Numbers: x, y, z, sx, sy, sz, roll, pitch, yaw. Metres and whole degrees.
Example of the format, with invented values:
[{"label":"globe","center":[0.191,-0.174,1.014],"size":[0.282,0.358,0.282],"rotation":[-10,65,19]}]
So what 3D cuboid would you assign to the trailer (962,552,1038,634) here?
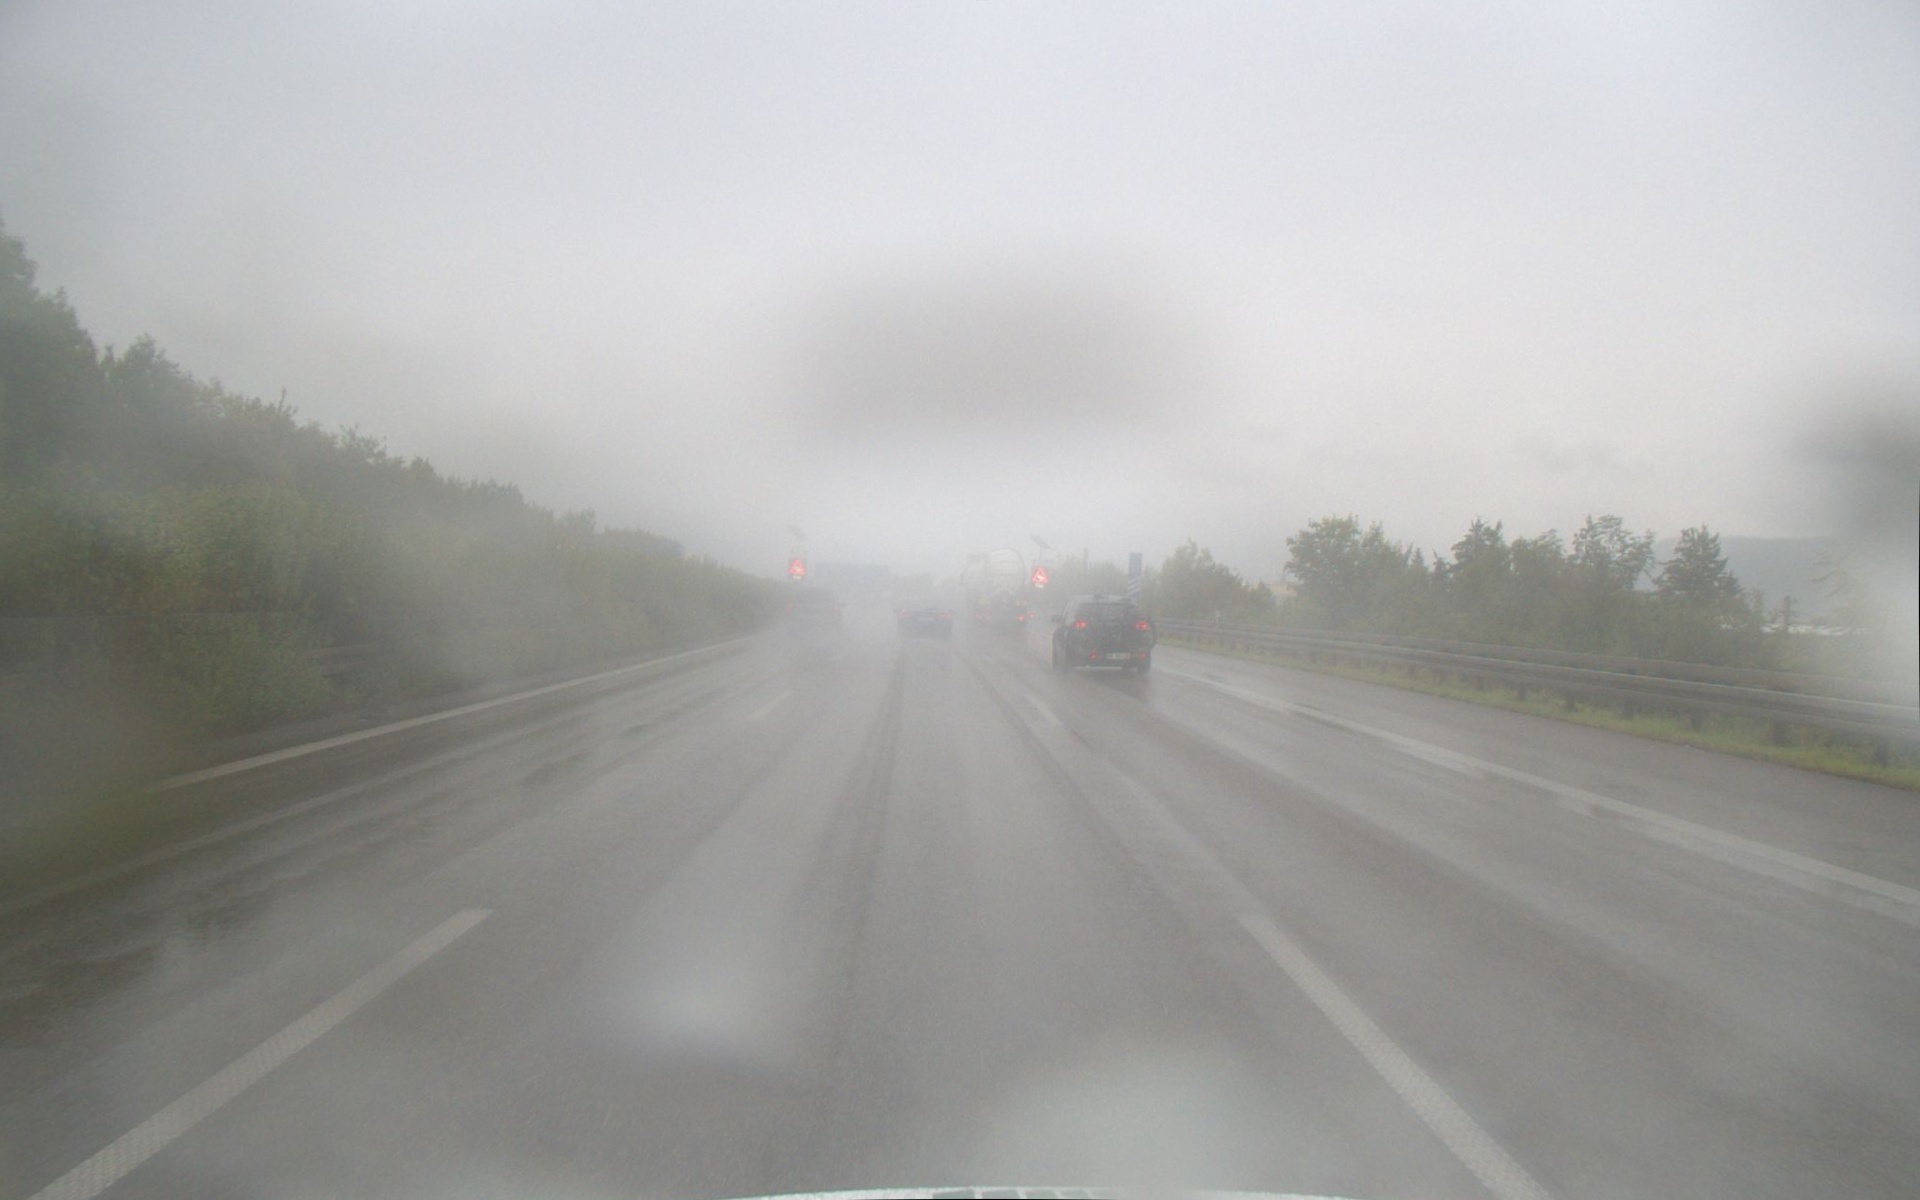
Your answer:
[{"label":"trailer","center":[1.839,-0.334,82.155],"size":[3.124,3.734,11.662],"rotation":[1,0,-2]}]

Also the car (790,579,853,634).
[{"label":"car","center":[-4.705,0.201,56.582],"size":[1.886,1.771,4.402],"rotation":[1,0,-2]}]

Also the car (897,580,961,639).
[{"label":"car","center":[-1.044,0.280,53.669],"size":[1.939,1.787,4.479],"rotation":[1,0,-2]}]

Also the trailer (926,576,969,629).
[{"label":"trailer","center":[-1.018,0.201,126.563],"size":[2.944,3.915,8.618],"rotation":[0,0,-3]}]

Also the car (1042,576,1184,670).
[{"label":"car","center":[3.114,0.432,35.052],"size":[2.407,1.776,5.718],"rotation":[1,0,-1]}]
